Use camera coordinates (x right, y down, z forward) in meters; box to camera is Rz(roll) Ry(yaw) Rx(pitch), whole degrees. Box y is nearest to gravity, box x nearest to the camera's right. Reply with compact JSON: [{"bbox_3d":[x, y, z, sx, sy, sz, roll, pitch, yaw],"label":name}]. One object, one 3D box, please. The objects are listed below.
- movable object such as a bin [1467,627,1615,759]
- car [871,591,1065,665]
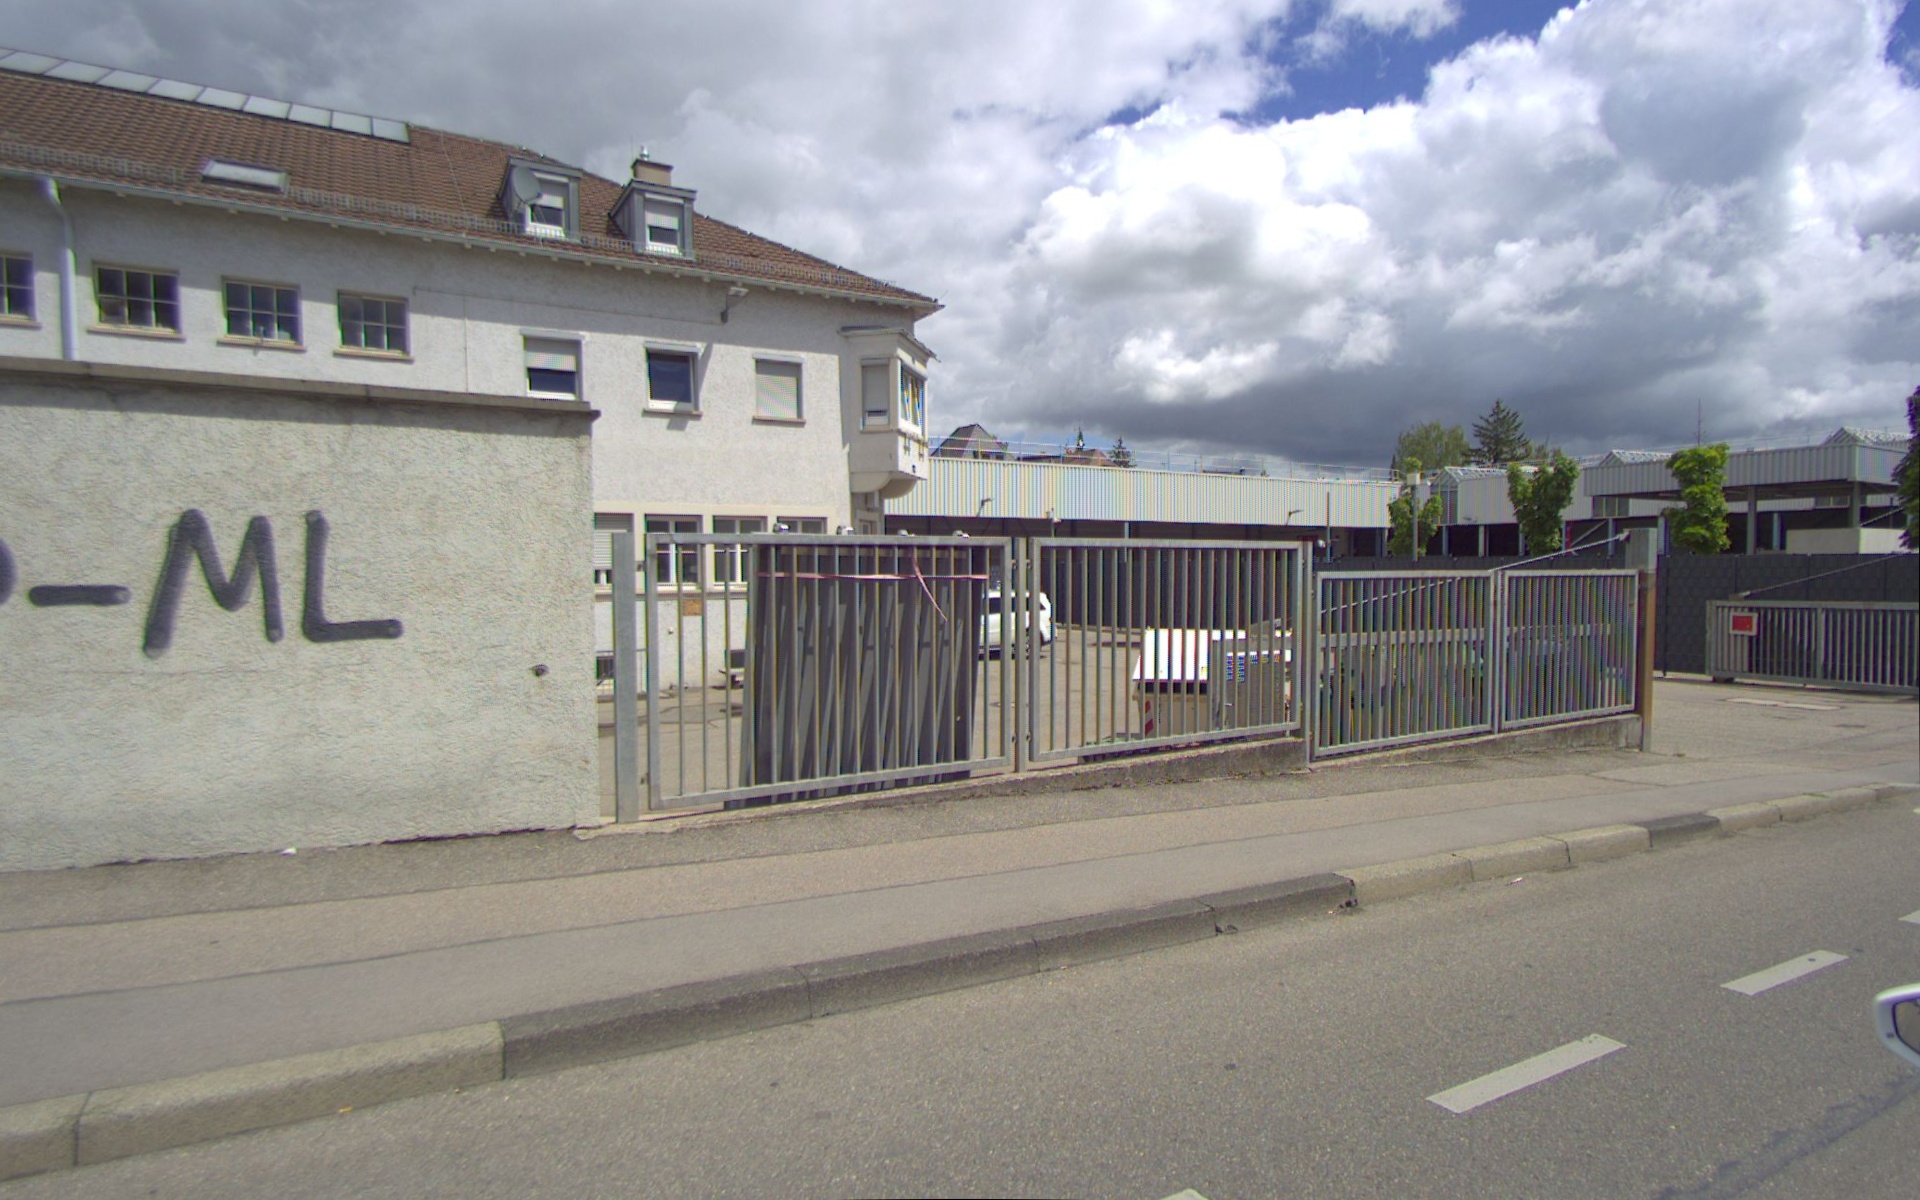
[{"bbox_3d":[6.718,1.033,11.641,1.200,1.411,0.987,-1,-1,-28],"label":"movable object such as a bin"},{"bbox_3d":[0.253,0.719,27.637,5.036,1.856,1.984,0,1,-30],"label":"car"}]
